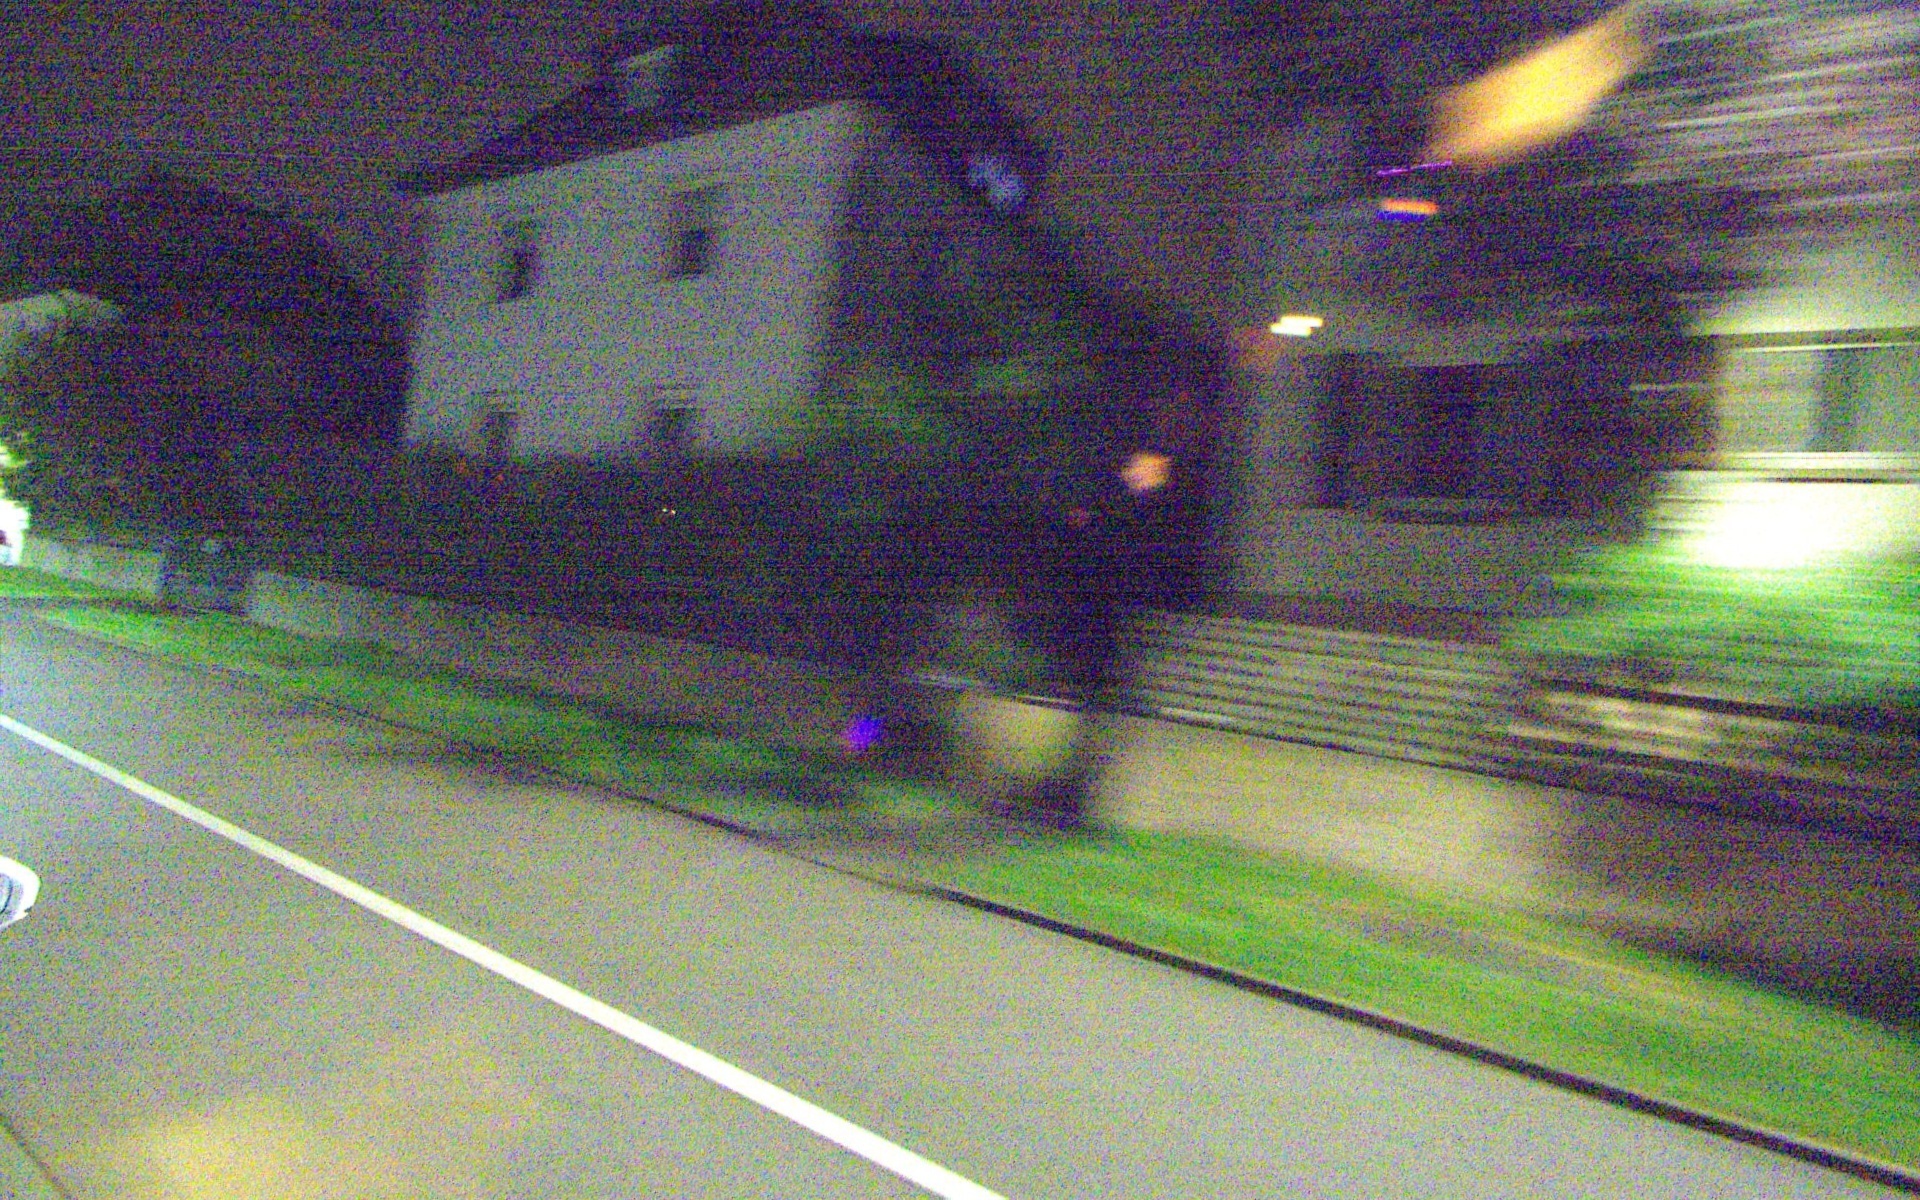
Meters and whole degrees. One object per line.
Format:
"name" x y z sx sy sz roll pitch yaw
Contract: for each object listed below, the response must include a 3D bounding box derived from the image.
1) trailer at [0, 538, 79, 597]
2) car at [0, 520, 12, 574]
"trailer" -21.061 -0.935 21.072 1.922 1.012 3.445 6 -6 32
"car" -24.142 -1.462 22.845 1.695 1.246 3.398 7 -2 30
